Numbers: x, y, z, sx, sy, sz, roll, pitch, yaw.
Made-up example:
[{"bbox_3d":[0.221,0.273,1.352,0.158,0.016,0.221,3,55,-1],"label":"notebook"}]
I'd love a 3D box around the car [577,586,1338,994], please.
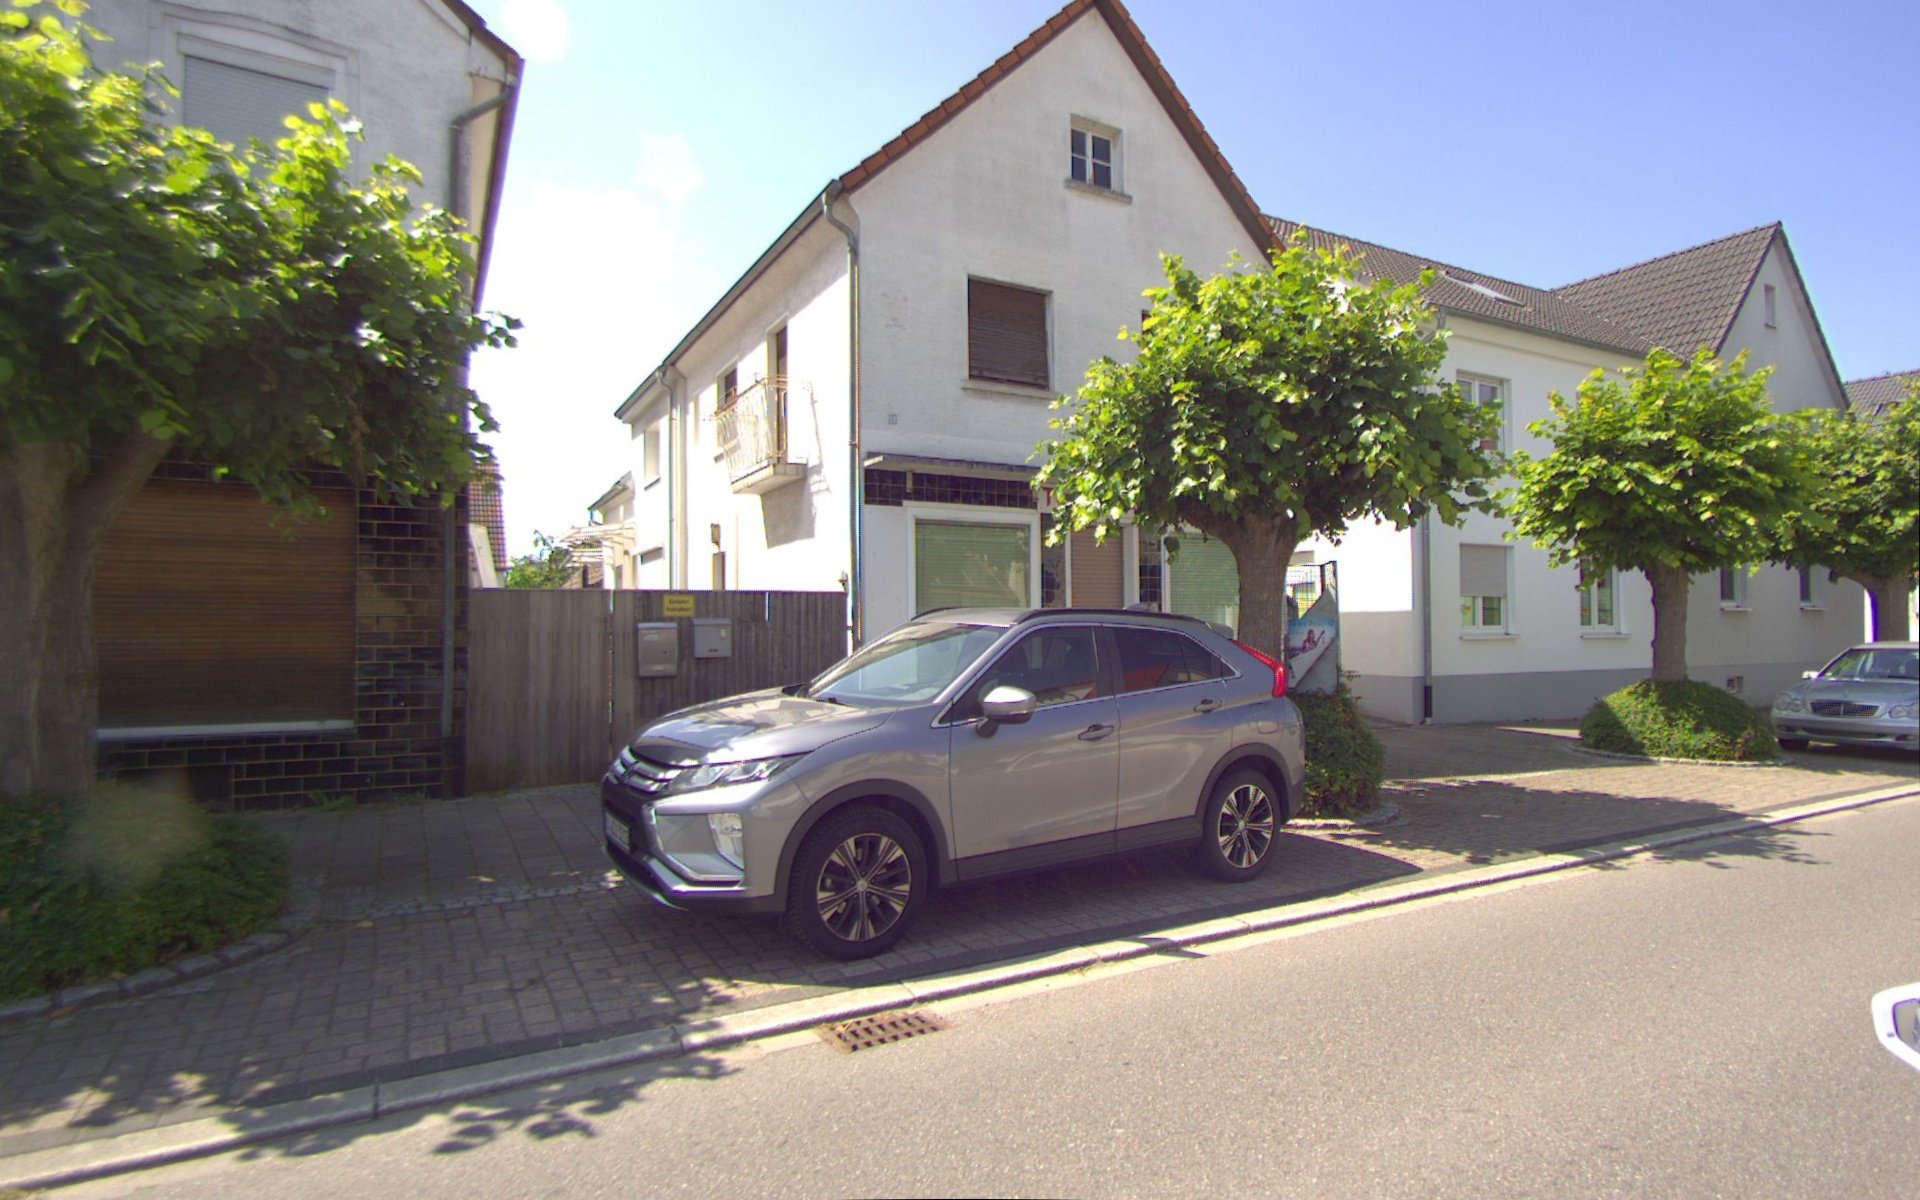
[{"bbox_3d":[0.123,0.849,6.175,4.321,1.674,1.982,1,-2,-33],"label":"car"}]

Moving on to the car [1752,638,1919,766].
[{"bbox_3d":[12.419,1.226,13.122,4.355,1.414,1.832,1,-1,-31],"label":"car"}]
